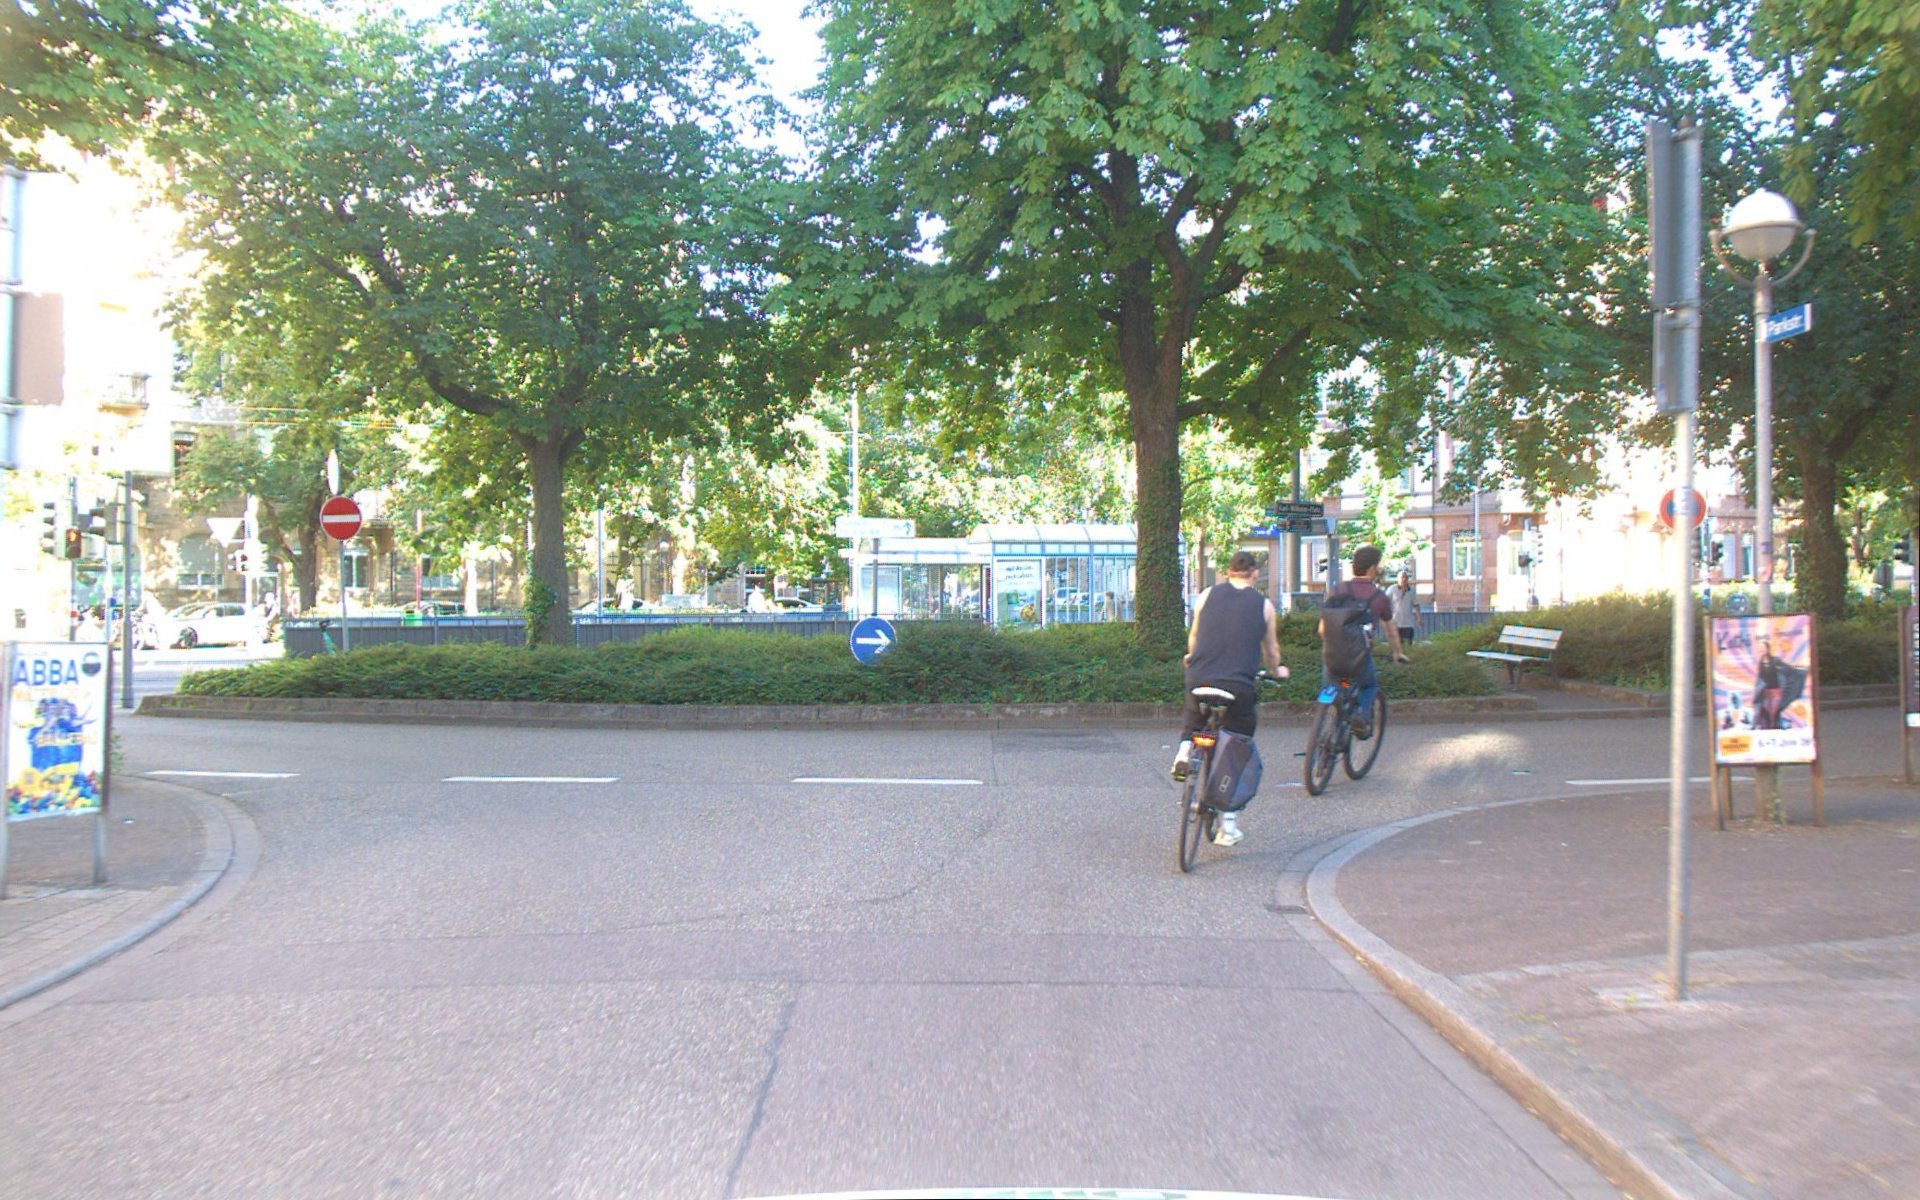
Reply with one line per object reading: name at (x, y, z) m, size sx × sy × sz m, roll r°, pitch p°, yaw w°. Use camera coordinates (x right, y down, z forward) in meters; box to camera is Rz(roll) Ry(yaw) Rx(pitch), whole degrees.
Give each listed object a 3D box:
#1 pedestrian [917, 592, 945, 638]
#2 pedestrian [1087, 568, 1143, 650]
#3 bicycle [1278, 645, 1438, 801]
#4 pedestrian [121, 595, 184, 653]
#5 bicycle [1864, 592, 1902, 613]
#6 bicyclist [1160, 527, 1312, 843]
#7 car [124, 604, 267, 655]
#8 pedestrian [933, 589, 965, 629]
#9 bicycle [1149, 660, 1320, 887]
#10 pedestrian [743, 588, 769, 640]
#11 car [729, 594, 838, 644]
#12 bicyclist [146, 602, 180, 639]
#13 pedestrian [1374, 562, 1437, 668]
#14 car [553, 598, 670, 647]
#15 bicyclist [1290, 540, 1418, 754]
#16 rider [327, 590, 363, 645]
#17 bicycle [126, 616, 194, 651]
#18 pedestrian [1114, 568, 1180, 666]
pedestrian at (-1.022, 0.512, 57.683) m, size 0.795 × 1.570 × 0.818 m, roll 1°, pitch 0°, yaw -12°
pedestrian at (3.715, 0.217, 39.660) m, size 1.003 × 1.930 × 0.906 m, roll -1°, pitch 0°, yaw -23°
bicycle at (3.071, 0.889, 12.617) m, size 0.661 × 1.072 × 2.058 m, roll -1°, pitch -1°, yaw 29°
pedestrian at (-27.774, 0.810, 56.898) m, size 1.231 × 1.945 × 1.493 m, roll -1°, pitch 0°, yaw 26°
bicycle at (39.513, 0.106, 70.807) m, size 1.414 × 0.877 × 0.450 m, roll -1°, pitch 0°, yaw -6°
bicyclist at (1.603, 0.463, 9.507) m, size 0.736 × 1.711 × 0.914 m, roll -1°, pitch 0°, yaw 16°
car at (-23.655, 0.879, 51.282) m, size 1.857 × 1.464 × 3.704 m, roll -1°, pitch 0°, yaw 25°
pedestrian at (-0.450, 0.372, 69.742) m, size 0.980 × 1.659 × 1.064 m, roll -1°, pitch 0°, yaw 25°
bicycle at (1.630, 0.927, 9.546) m, size 0.722 × 1.029 × 2.063 m, roll 2°, pitch 1°, yaw 16°
pedestrian at (-6.790, 0.461, 55.030) m, size 0.692 × 1.724 × 0.666 m, roll 1°, pitch 0°, yaw -23°
car at (-7.133, 0.744, 66.750) m, size 3.939 × 1.903 × 1.983 m, roll -1°, pitch 0°, yaw -27°
bicyclist at (-23.425, 0.594, 48.604) m, size 0.598 × 1.072 × 0.676 m, roll -1°, pitch 0°, yaw 26°
pedestrian at (7.338, 0.238, 27.291) m, size 0.896 × 1.713 × 0.781 m, roll -1°, pitch 0°, yaw 9°
car at (-13.137, 0.830, 62.503) m, size 3.920 × 1.709 × 1.922 m, roll -1°, pitch 0°, yaw -45°
bicyclist at (2.991, 0.346, 12.495) m, size 0.659 × 1.541 × 1.067 m, roll -2°, pitch -1°, yaw 29°
rider at (-19.336, 0.539, 51.974) m, size 0.801 × 1.711 × 0.671 m, roll 1°, pitch 0°, yaw 9°
bicycle at (-23.456, 0.980, 48.521) m, size 0.640 × 0.962 × 1.741 m, roll -1°, pitch 0°, yaw 26°
pedestrian at (3.314, 0.295, 29.324) m, size 0.880 × 1.713 × 0.817 m, roll -1°, pitch 0°, yaw 33°
